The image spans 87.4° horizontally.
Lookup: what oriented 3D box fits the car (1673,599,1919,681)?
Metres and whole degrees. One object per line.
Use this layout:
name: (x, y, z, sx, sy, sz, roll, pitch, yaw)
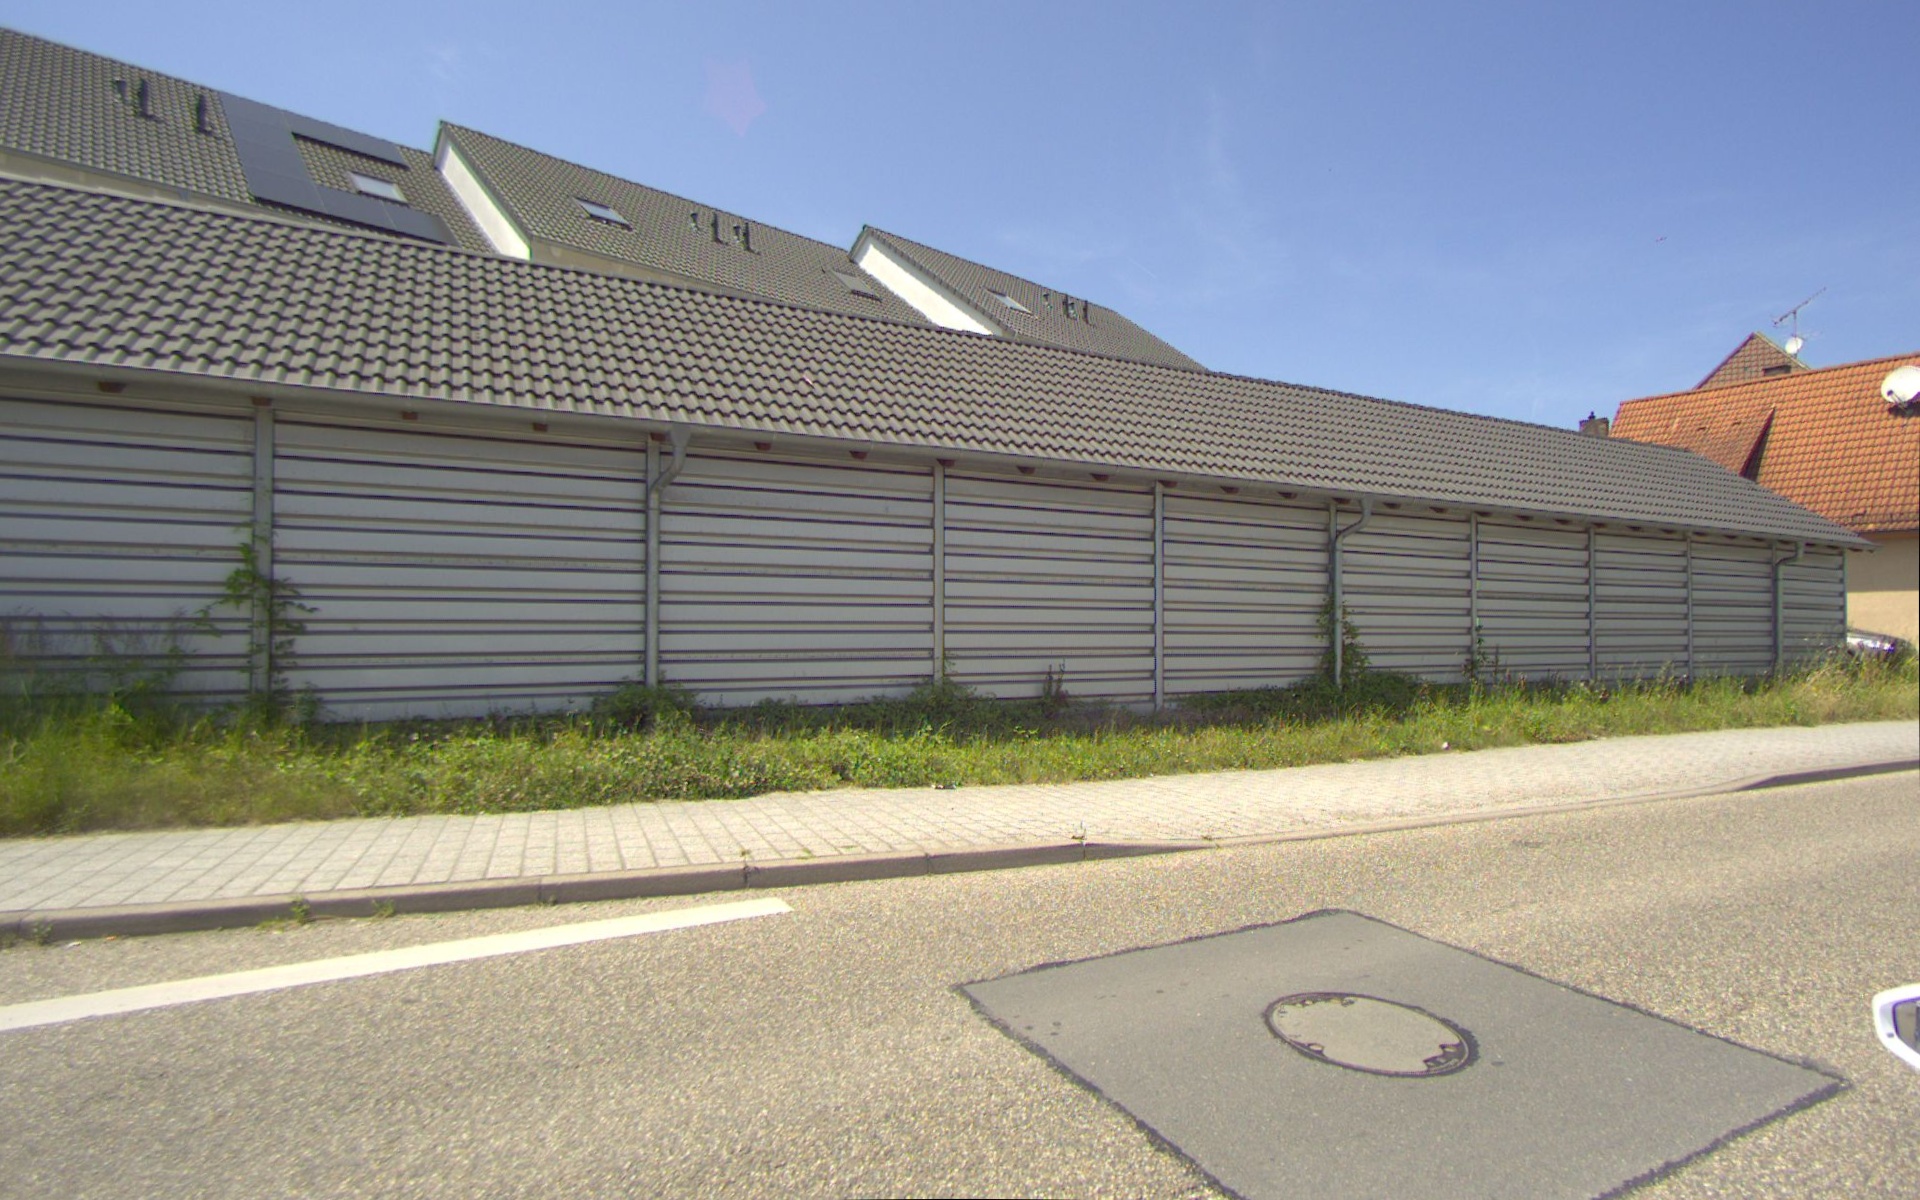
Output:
car: (18.765, 0.894, 22.546, 1.841, 1.659, 4.110, 1, -2, -27)
